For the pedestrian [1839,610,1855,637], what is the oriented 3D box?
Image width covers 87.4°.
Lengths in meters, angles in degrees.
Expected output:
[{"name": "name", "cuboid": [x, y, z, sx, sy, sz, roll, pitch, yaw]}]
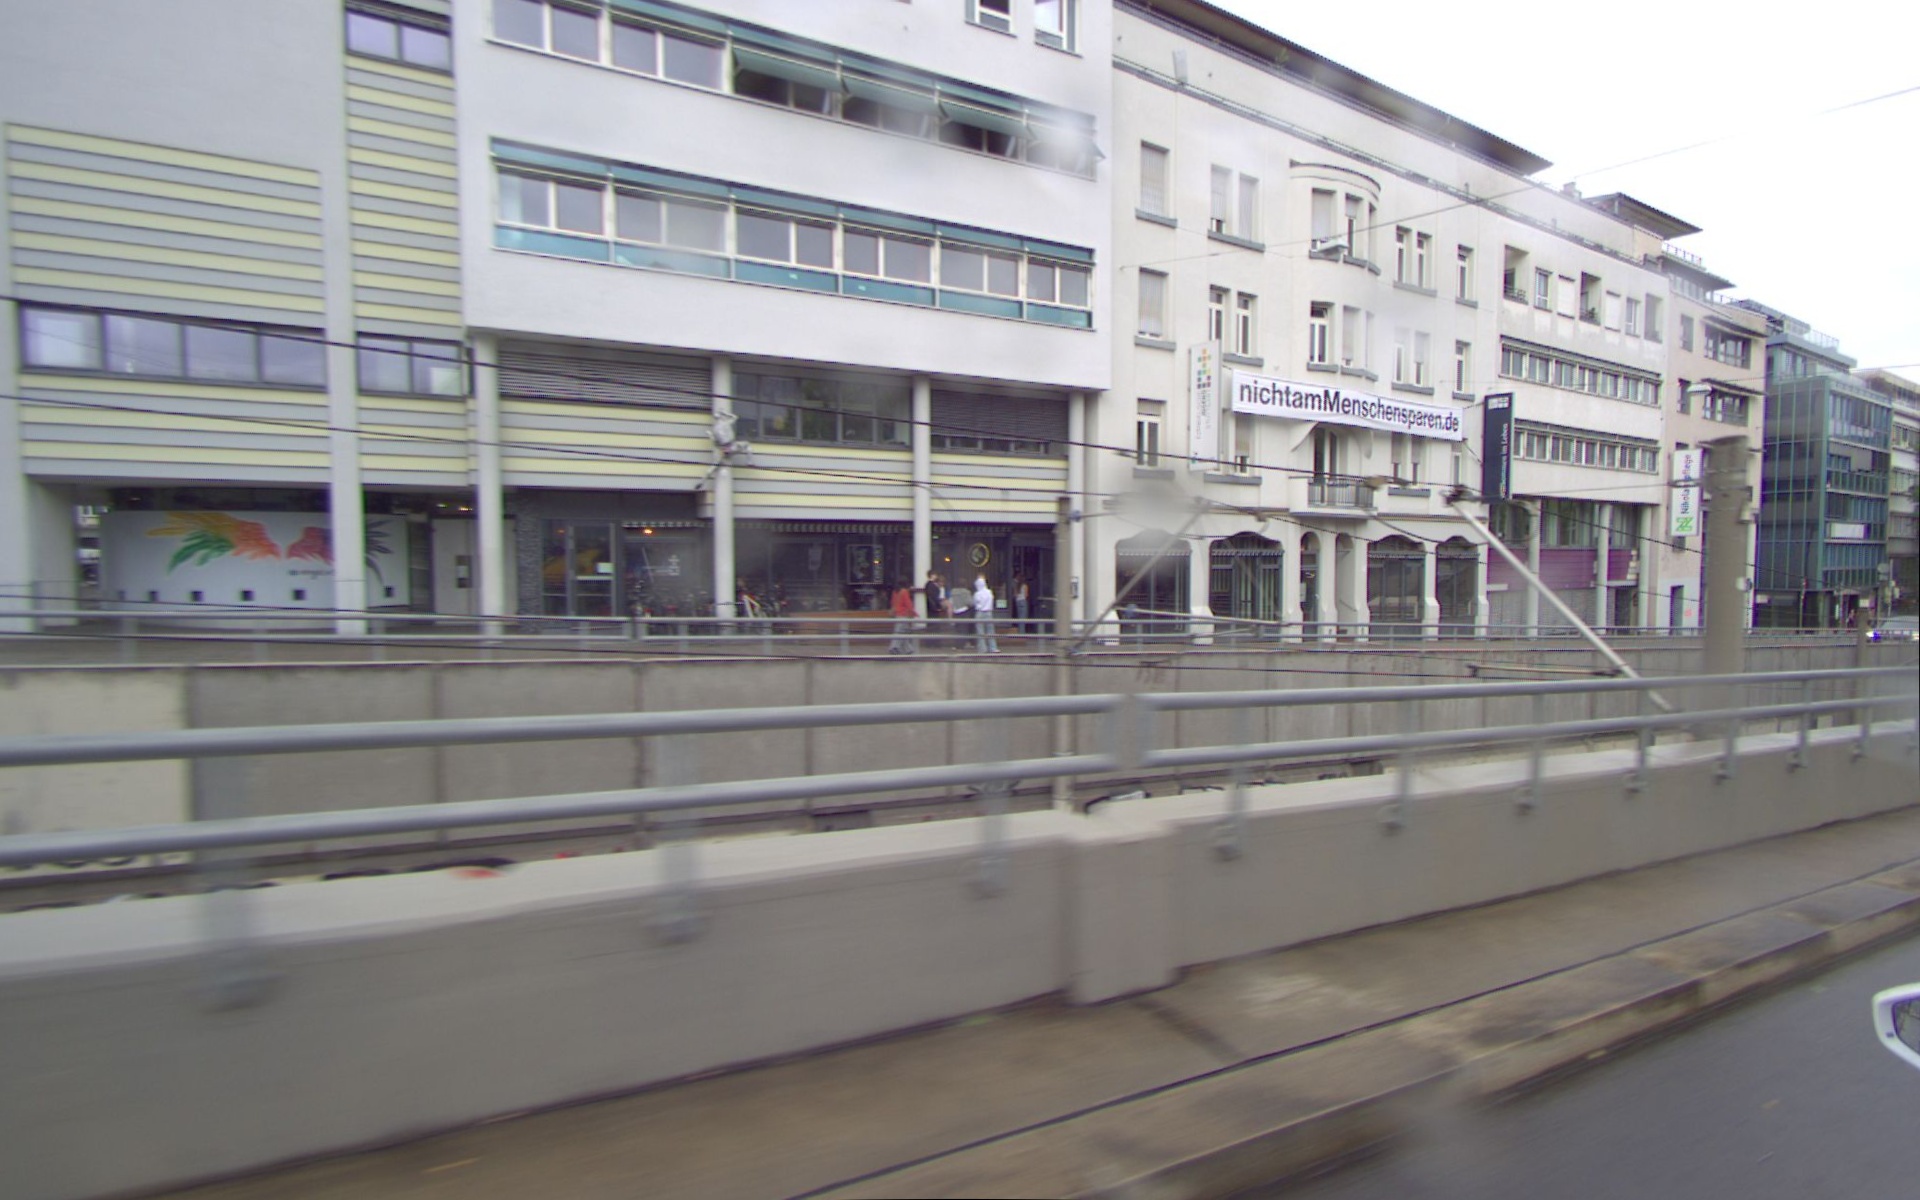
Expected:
[{"name": "pedestrian", "cuboid": [57.651, 1.515, 65.279, 0.483, 1.694, 0.660, 1, 1, -34]}]

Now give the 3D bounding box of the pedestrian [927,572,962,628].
[{"name": "pedestrian", "cuboid": [-0.408, -0.004, 26.258, 0.665, 1.438, 0.604, 0, 2, -29]}]

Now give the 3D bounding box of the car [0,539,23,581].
[{"name": "car", "cuboid": [-44.072, -1.801, 44.057, 3.938, 1.811, 1.822, 1, 2, -19]}]

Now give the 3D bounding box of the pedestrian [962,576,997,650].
[{"name": "pedestrian", "cuboid": [0.476, 0.300, 24.227, 0.660, 1.745, 0.609, 2, 2, 16]}]

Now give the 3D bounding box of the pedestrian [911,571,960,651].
[{"name": "pedestrian", "cuboid": [-0.567, 0.243, 23.419, 0.664, 1.809, 0.937, 3, 2, 41]}]

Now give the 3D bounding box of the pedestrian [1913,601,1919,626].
[{"name": "pedestrian", "cuboid": [73.667, 1.080, 76.798, 0.858, 1.893, 0.871, 0, 3, -34]}]

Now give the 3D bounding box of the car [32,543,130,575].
[{"name": "car", "cuboid": [-51.678, -2.380, 59.122, 3.938, 1.750, 1.763, 1, 2, -19]}]

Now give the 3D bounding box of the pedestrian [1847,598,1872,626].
[{"name": "pedestrian", "cuboid": [62.272, 0.853, 69.559, 0.944, 1.893, 0.864, 1, 2, -15]}]

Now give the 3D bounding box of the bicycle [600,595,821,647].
[{"name": "bicycle", "cuboid": [-5.487, 0.457, 22.225, 4.468, 1.057, 1.685, 1, 0, -30]}]

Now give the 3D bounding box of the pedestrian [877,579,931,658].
[{"name": "pedestrian", "cuboid": [-1.187, 0.381, 21.416, 0.664, 1.638, 0.937, 3, 2, 41]}]

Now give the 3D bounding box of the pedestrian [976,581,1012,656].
[{"name": "pedestrian", "cuboid": [0.792, 0.409, 23.133, 0.660, 1.665, 0.795, 2, 2, 13]}]

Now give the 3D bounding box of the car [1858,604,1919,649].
[{"name": "car", "cuboid": [39.896, 1.077, 42.352, 4.527, 1.736, 1.826, 0, 1, -33]}]
